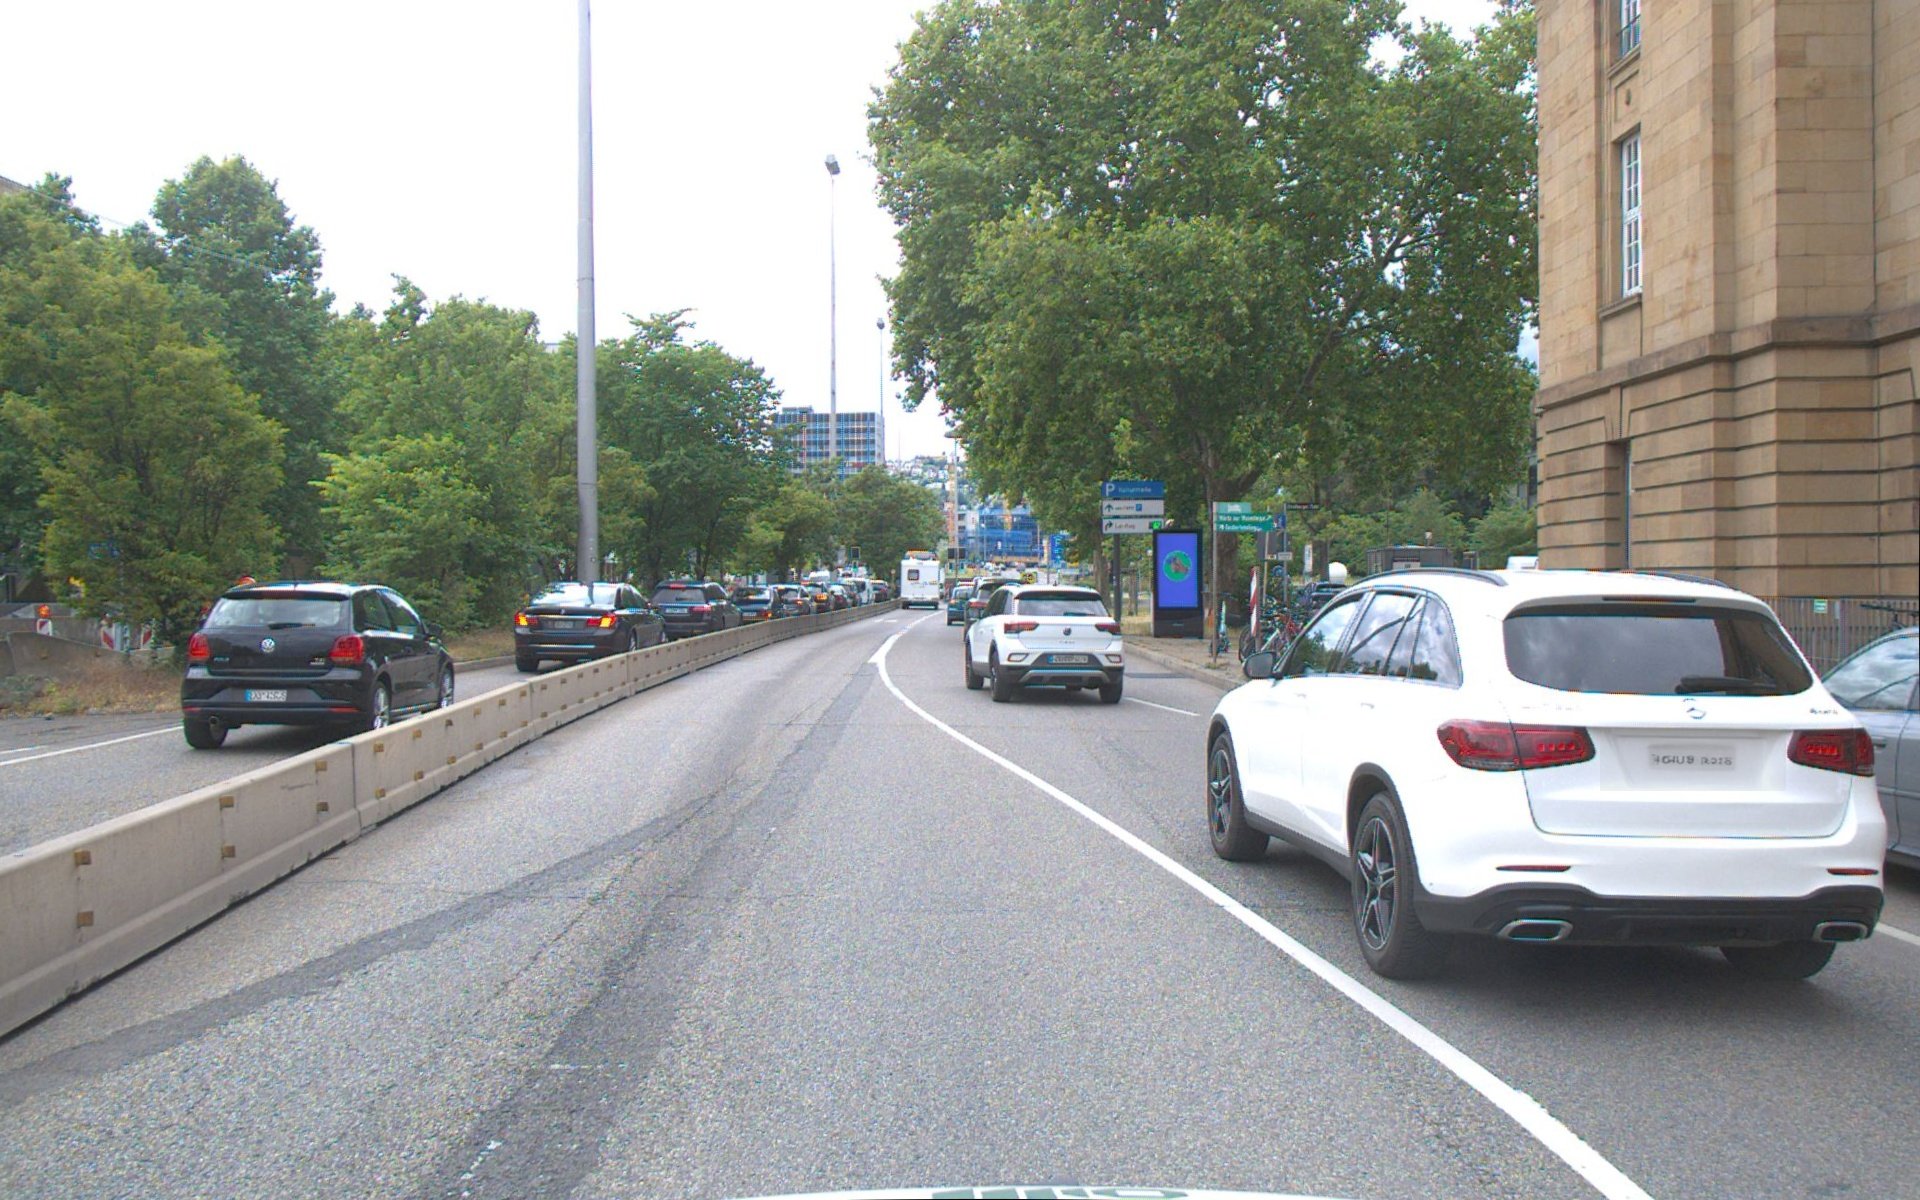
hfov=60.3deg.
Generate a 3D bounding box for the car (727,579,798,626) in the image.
[{"bbox_3d":[-6.104,0.051,51.465,1.643,1.390,4.543,0,0,0],"label":"car"}]

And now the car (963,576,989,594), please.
[{"bbox_3d":[1.222,-1.163,128.384,1.906,1.343,4.017,1,0,2],"label":"car"}]

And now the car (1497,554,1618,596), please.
[{"bbox_3d":[33.773,-1.410,93.620,5.980,2.300,2.402,0,0,2],"label":"car"}]

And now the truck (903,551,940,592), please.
[{"bbox_3d":[-2.994,-2.199,129.607,2.637,3.044,5.637,2,0,0],"label":"truck"}]

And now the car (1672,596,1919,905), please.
[{"bbox_3d":[5.458,0.726,8.647,1.674,1.451,3.996,-1,0,-1],"label":"car"}]

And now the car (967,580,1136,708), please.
[{"bbox_3d":[1.191,0.568,23.259,1.761,1.636,3.749,1,0,-7],"label":"car"}]

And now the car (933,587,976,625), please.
[{"bbox_3d":[-0.210,0.230,64.596,1.625,1.438,3.547,1,0,0],"label":"car"}]

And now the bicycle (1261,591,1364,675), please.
[{"bbox_3d":[5.551,0.510,26.054,1.510,1.278,0.543,1,0,19],"label":"bicycle"}]

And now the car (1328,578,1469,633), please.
[{"bbox_3d":[12.944,0.162,48.972,3.757,1.596,1.679,0,0,0],"label":"car"}]

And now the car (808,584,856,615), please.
[{"bbox_3d":[-5.645,-0.021,73.369,1.624,1.343,3.549,1,0,4],"label":"car"}]

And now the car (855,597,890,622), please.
[{"bbox_3d":[-4.880,0.500,92.174,1.625,1.343,3.548,1,0,2],"label":"car"}]

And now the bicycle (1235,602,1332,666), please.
[{"bbox_3d":[5.888,0.615,30.091,1.691,1.110,0.426,1,0,13],"label":"bicycle"}]

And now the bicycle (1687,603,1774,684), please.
[{"bbox_3d":[10.193,0.551,21.927,0.235,1.015,1.963,0,0,0],"label":"bicycle"}]

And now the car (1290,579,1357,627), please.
[{"bbox_3d":[13.462,0.075,61.420,1.724,1.578,4.028,0,2,2],"label":"car"}]

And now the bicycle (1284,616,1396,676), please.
[{"bbox_3d":[6.062,0.725,26.366,1.692,0.933,0.614,0,0,19],"label":"bicycle"}]

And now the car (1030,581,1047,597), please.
[{"bbox_3d":[8.453,-1.144,178.239,1.722,1.698,4.168,0,1,1],"label":"car"}]

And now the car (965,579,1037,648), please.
[{"bbox_3d":[1.011,0.325,42.002,1.626,1.668,3.546,1,0,-2],"label":"car"}]

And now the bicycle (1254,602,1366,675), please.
[{"bbox_3d":[5.438,0.581,25.691,1.628,1.093,0.585,1,0,20],"label":"bicycle"}]

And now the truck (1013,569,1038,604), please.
[{"bbox_3d":[8.053,-1.651,203.694,2.818,4.175,6.638,1,0,0],"label":"truck"}]

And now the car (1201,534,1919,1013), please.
[{"bbox_3d":[2.527,0.600,8.003,1.753,1.653,4.433,1,0,-4],"label":"car"}]

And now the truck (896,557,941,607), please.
[{"bbox_3d":[-2.503,-1.085,102.110,2.567,2.911,7.078,1,0,0],"label":"truck"}]

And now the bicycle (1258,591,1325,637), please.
[{"bbox_3d":[9.160,0.381,45.721,1.747,1.242,0.492,0,0,3],"label":"bicycle"}]

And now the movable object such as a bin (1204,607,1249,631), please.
[{"bbox_3d":[7.825,0.555,48.526,1.271,0.663,0.729,2,-1,9],"label":"movable object such as a bin"}]

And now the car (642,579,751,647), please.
[{"bbox_3d":[-6.172,0.275,39.226,1.779,1.525,4.769,0,0,0],"label":"car"}]

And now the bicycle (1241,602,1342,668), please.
[{"bbox_3d":[5.813,0.603,29.039,1.691,1.110,0.575,1,0,9],"label":"bicycle"}]

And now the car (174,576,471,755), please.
[{"bbox_3d":[-5.926,0.541,15.892,1.627,1.479,4.192,1,0,-6],"label":"car"}]

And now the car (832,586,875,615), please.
[{"bbox_3d":[-5.147,0.010,80.445,1.624,1.343,3.549,1,0,4],"label":"car"}]

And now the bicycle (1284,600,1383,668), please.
[{"bbox_3d":[6.005,0.536,26.628,1.530,1.046,0.436,1,0,12],"label":"bicycle"}]

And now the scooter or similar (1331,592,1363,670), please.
[{"bbox_3d":[6.450,0.508,27.582,0.416,1.245,1.313,1,0,10],"label":"scooter or similar"}]

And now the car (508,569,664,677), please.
[{"bbox_3d":[-6.257,0.345,28.208,1.886,1.664,4.932,1,0,-5],"label":"car"}]

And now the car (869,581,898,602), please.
[{"bbox_3d":[-5.075,-0.557,109.417,1.625,1.343,3.548,1,0,2],"label":"car"}]

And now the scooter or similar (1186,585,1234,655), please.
[{"bbox_3d":[4.958,0.392,32.826,0.711,1.354,1.413,1,0,-1],"label":"scooter or similar"}]

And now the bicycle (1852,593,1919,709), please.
[{"bbox_3d":[10.083,0.527,17.707,0.270,1.203,1.538,-1,0,2],"label":"bicycle"}]

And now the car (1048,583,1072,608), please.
[{"bbox_3d":[8.589,-0.388,141.912,1.952,2.049,4.001,1,0,2],"label":"car"}]

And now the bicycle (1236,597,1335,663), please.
[{"bbox_3d":[5.795,0.529,29.435,1.691,1.110,0.381,1,0,13],"label":"bicycle"}]

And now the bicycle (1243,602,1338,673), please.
[{"bbox_3d":[5.497,0.627,27.479,1.589,1.150,0.466,1,0,-26],"label":"bicycle"}]

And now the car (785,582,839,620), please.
[{"bbox_3d":[-5.823,0.001,65.453,1.739,1.445,4.001,0,1,1],"label":"car"}]

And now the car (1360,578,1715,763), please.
[{"bbox_3d":[5.294,0.574,15.817,1.752,1.512,4.324,1,0,-2],"label":"car"}]

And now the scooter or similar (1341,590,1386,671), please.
[{"bbox_3d":[6.673,0.487,27.392,0.550,1.301,1.149,1,0,6],"label":"scooter or similar"}]

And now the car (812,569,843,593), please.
[{"bbox_3d":[-11.293,-1.596,141.485,2.072,2.003,5.579,0,0,1],"label":"car"}]

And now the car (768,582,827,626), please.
[{"bbox_3d":[-5.667,0.147,58.061,1.627,1.461,3.960,1,0,0],"label":"car"}]
